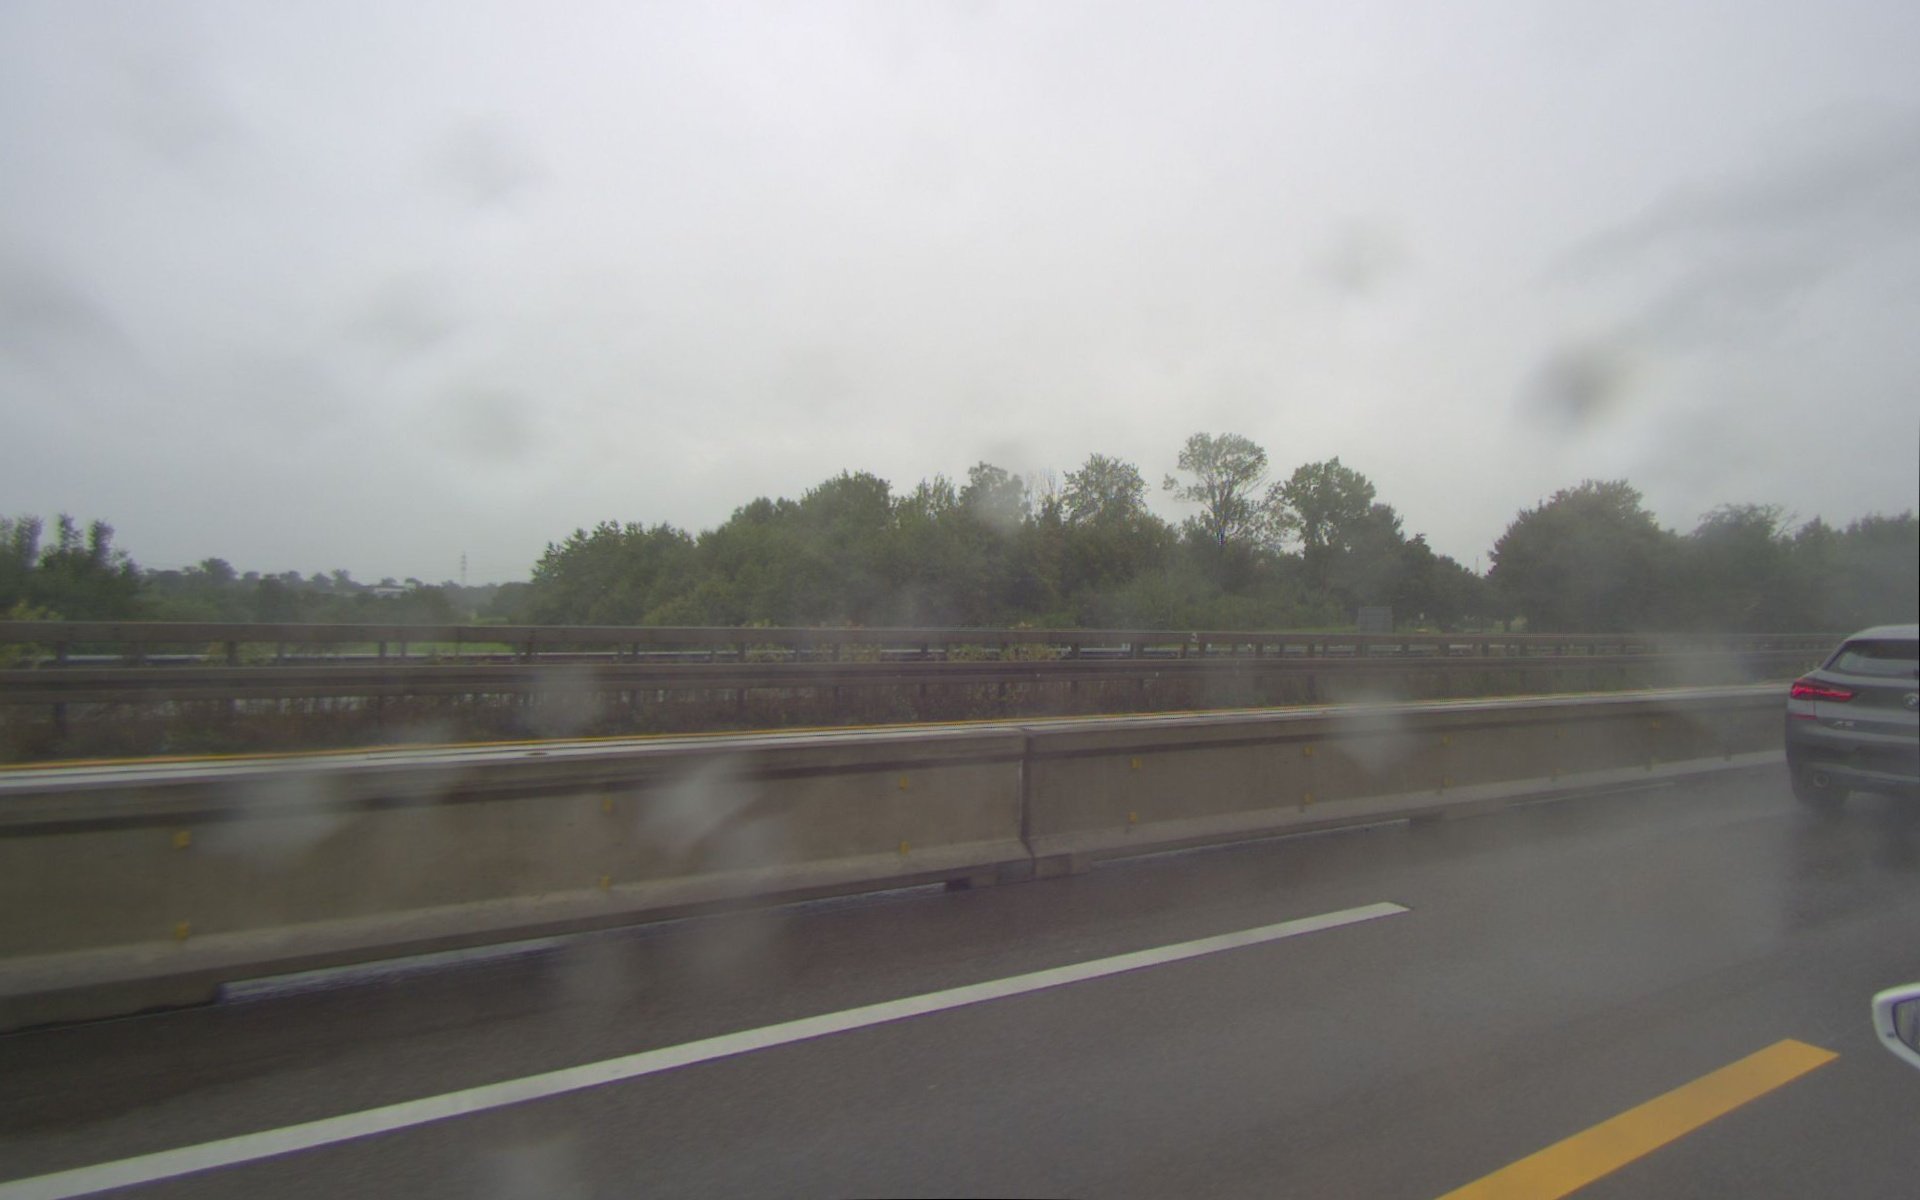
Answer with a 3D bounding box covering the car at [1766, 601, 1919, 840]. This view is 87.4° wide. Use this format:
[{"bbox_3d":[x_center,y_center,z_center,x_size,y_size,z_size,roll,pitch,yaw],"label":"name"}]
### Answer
[{"bbox_3d":[8.531,0.861,8.054,4.790,1.619,1.692,1,-1,-31],"label":"car"}]
